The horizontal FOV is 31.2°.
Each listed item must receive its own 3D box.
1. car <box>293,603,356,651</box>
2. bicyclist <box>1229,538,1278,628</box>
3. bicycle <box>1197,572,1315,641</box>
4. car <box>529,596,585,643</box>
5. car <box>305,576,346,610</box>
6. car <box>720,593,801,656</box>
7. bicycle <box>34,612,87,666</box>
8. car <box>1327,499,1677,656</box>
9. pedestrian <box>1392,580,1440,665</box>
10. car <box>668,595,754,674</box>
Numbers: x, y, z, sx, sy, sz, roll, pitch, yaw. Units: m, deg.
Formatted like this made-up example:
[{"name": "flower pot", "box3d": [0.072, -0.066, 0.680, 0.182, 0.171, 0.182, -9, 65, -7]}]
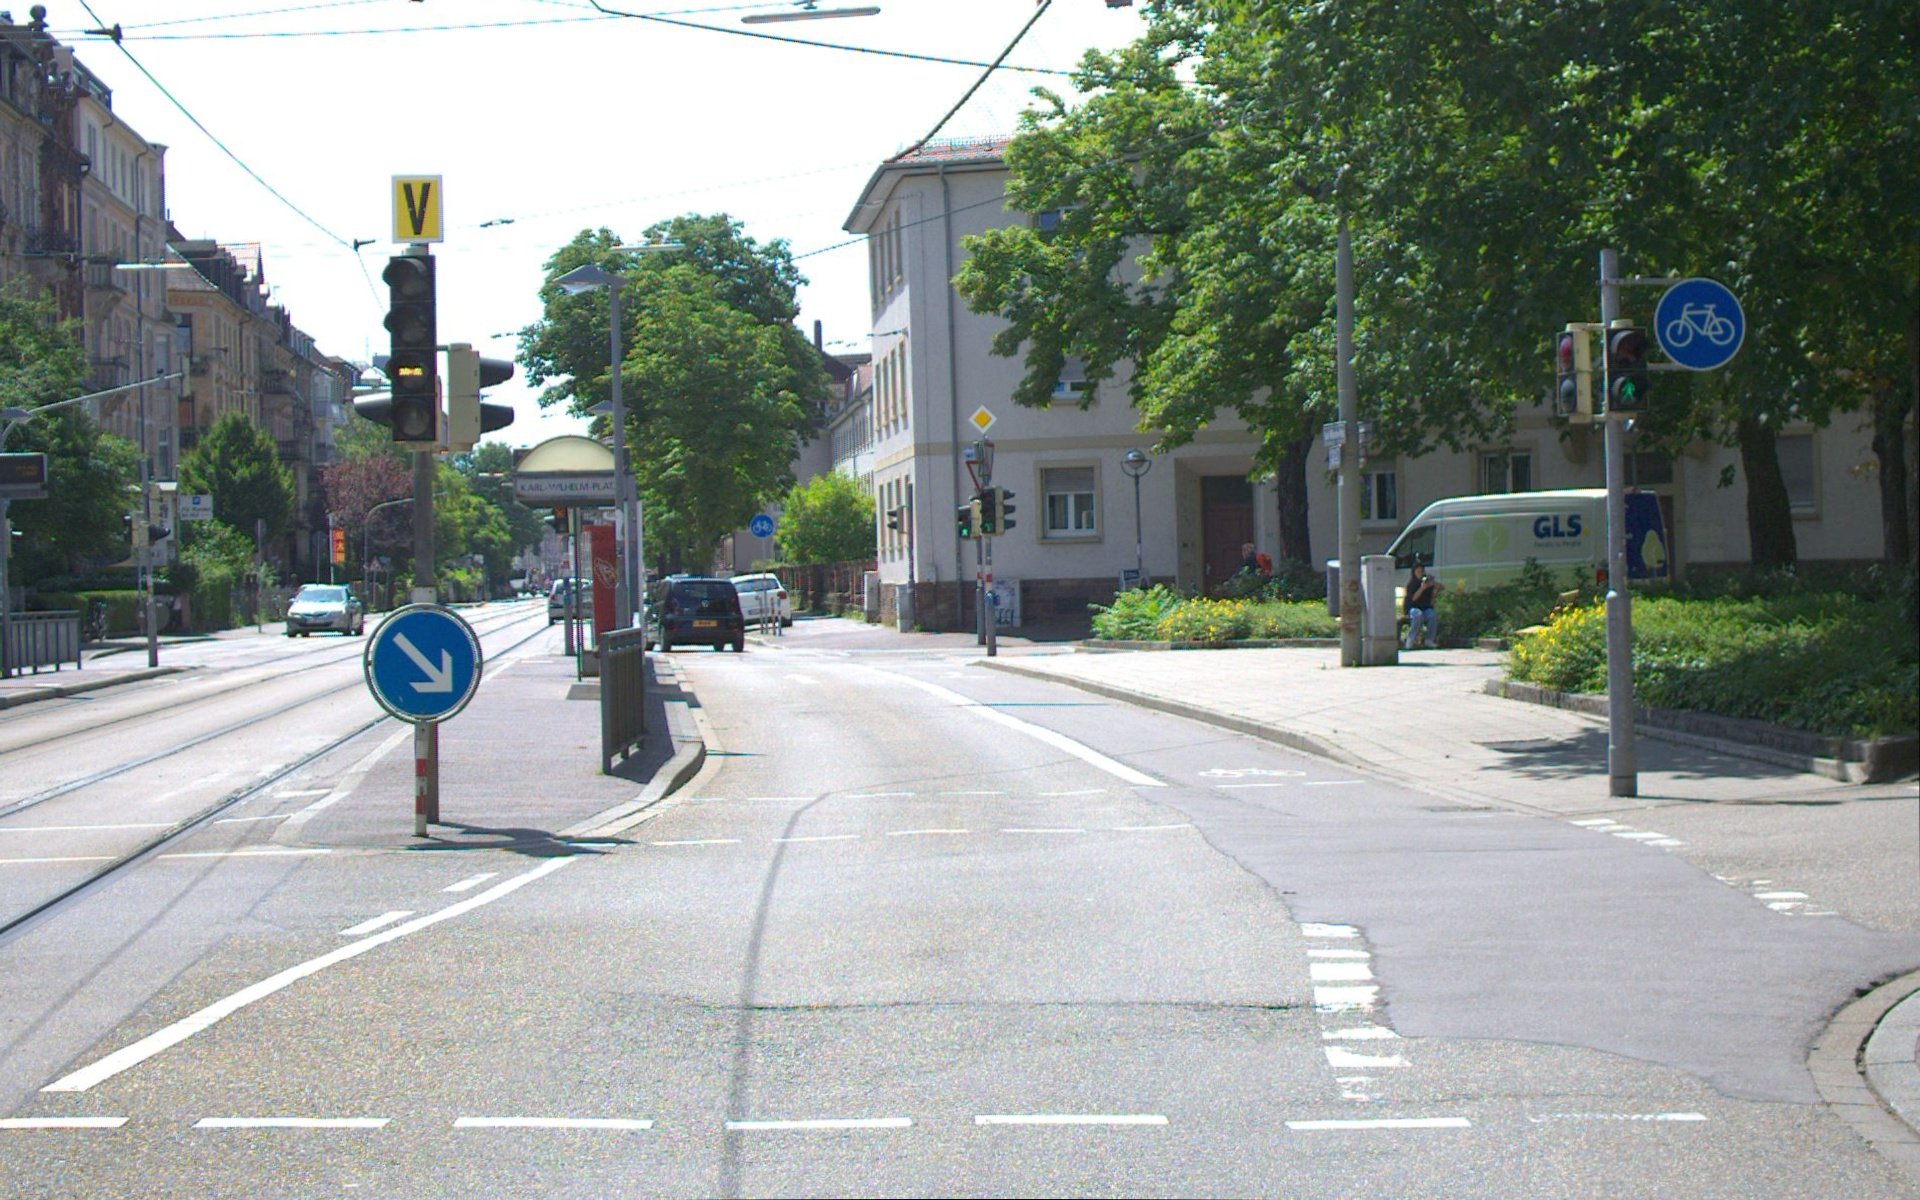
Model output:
[{"name": "car", "box3d": [-18.105, 0.764, 98.013, 1.540, 1.334, 3.720, -1, 0, -7]}, {"name": "bicyclist", "box3d": [5.408, -0.305, 63.293, 0.694, 1.640, 0.579, -1, 0, 28]}, {"name": "bicycle", "box3d": [5.450, 0.120, 63.275, 2.084, 1.232, 0.580, -1, 0, 28]}, {"name": "car", "box3d": [-13.330, 0.642, 113.717, 1.524, 1.451, 3.365, -3, 0, -11]}, {"name": "car", "box3d": [-30.613, -0.337, 165.981, 1.684, 1.468, 3.939, -5, 0, -8]}, {"name": "car", "box3d": [-5.205, 0.629, 89.276, 1.747, 1.468, 3.939, -5, 0, -7]}, {"name": "bicycle", "box3d": [-23.226, 1.008, 88.782, 0.591, 1.351, 2.440, -1, 0, -32]}, {"name": "car", "box3d": [9.254, -0.363, 59.160, 5.846, 2.581, 1.995, -1, 0, 45]}, {"name": "pedestrian", "box3d": [6.063, 0.291, 45.720, 0.509, 1.088, 0.478, -3, 1, 0]}, {"name": "car", "box3d": [-4.918, 0.668, 67.641, 1.524, 1.439, 3.365, -3, 0, -6]}]
